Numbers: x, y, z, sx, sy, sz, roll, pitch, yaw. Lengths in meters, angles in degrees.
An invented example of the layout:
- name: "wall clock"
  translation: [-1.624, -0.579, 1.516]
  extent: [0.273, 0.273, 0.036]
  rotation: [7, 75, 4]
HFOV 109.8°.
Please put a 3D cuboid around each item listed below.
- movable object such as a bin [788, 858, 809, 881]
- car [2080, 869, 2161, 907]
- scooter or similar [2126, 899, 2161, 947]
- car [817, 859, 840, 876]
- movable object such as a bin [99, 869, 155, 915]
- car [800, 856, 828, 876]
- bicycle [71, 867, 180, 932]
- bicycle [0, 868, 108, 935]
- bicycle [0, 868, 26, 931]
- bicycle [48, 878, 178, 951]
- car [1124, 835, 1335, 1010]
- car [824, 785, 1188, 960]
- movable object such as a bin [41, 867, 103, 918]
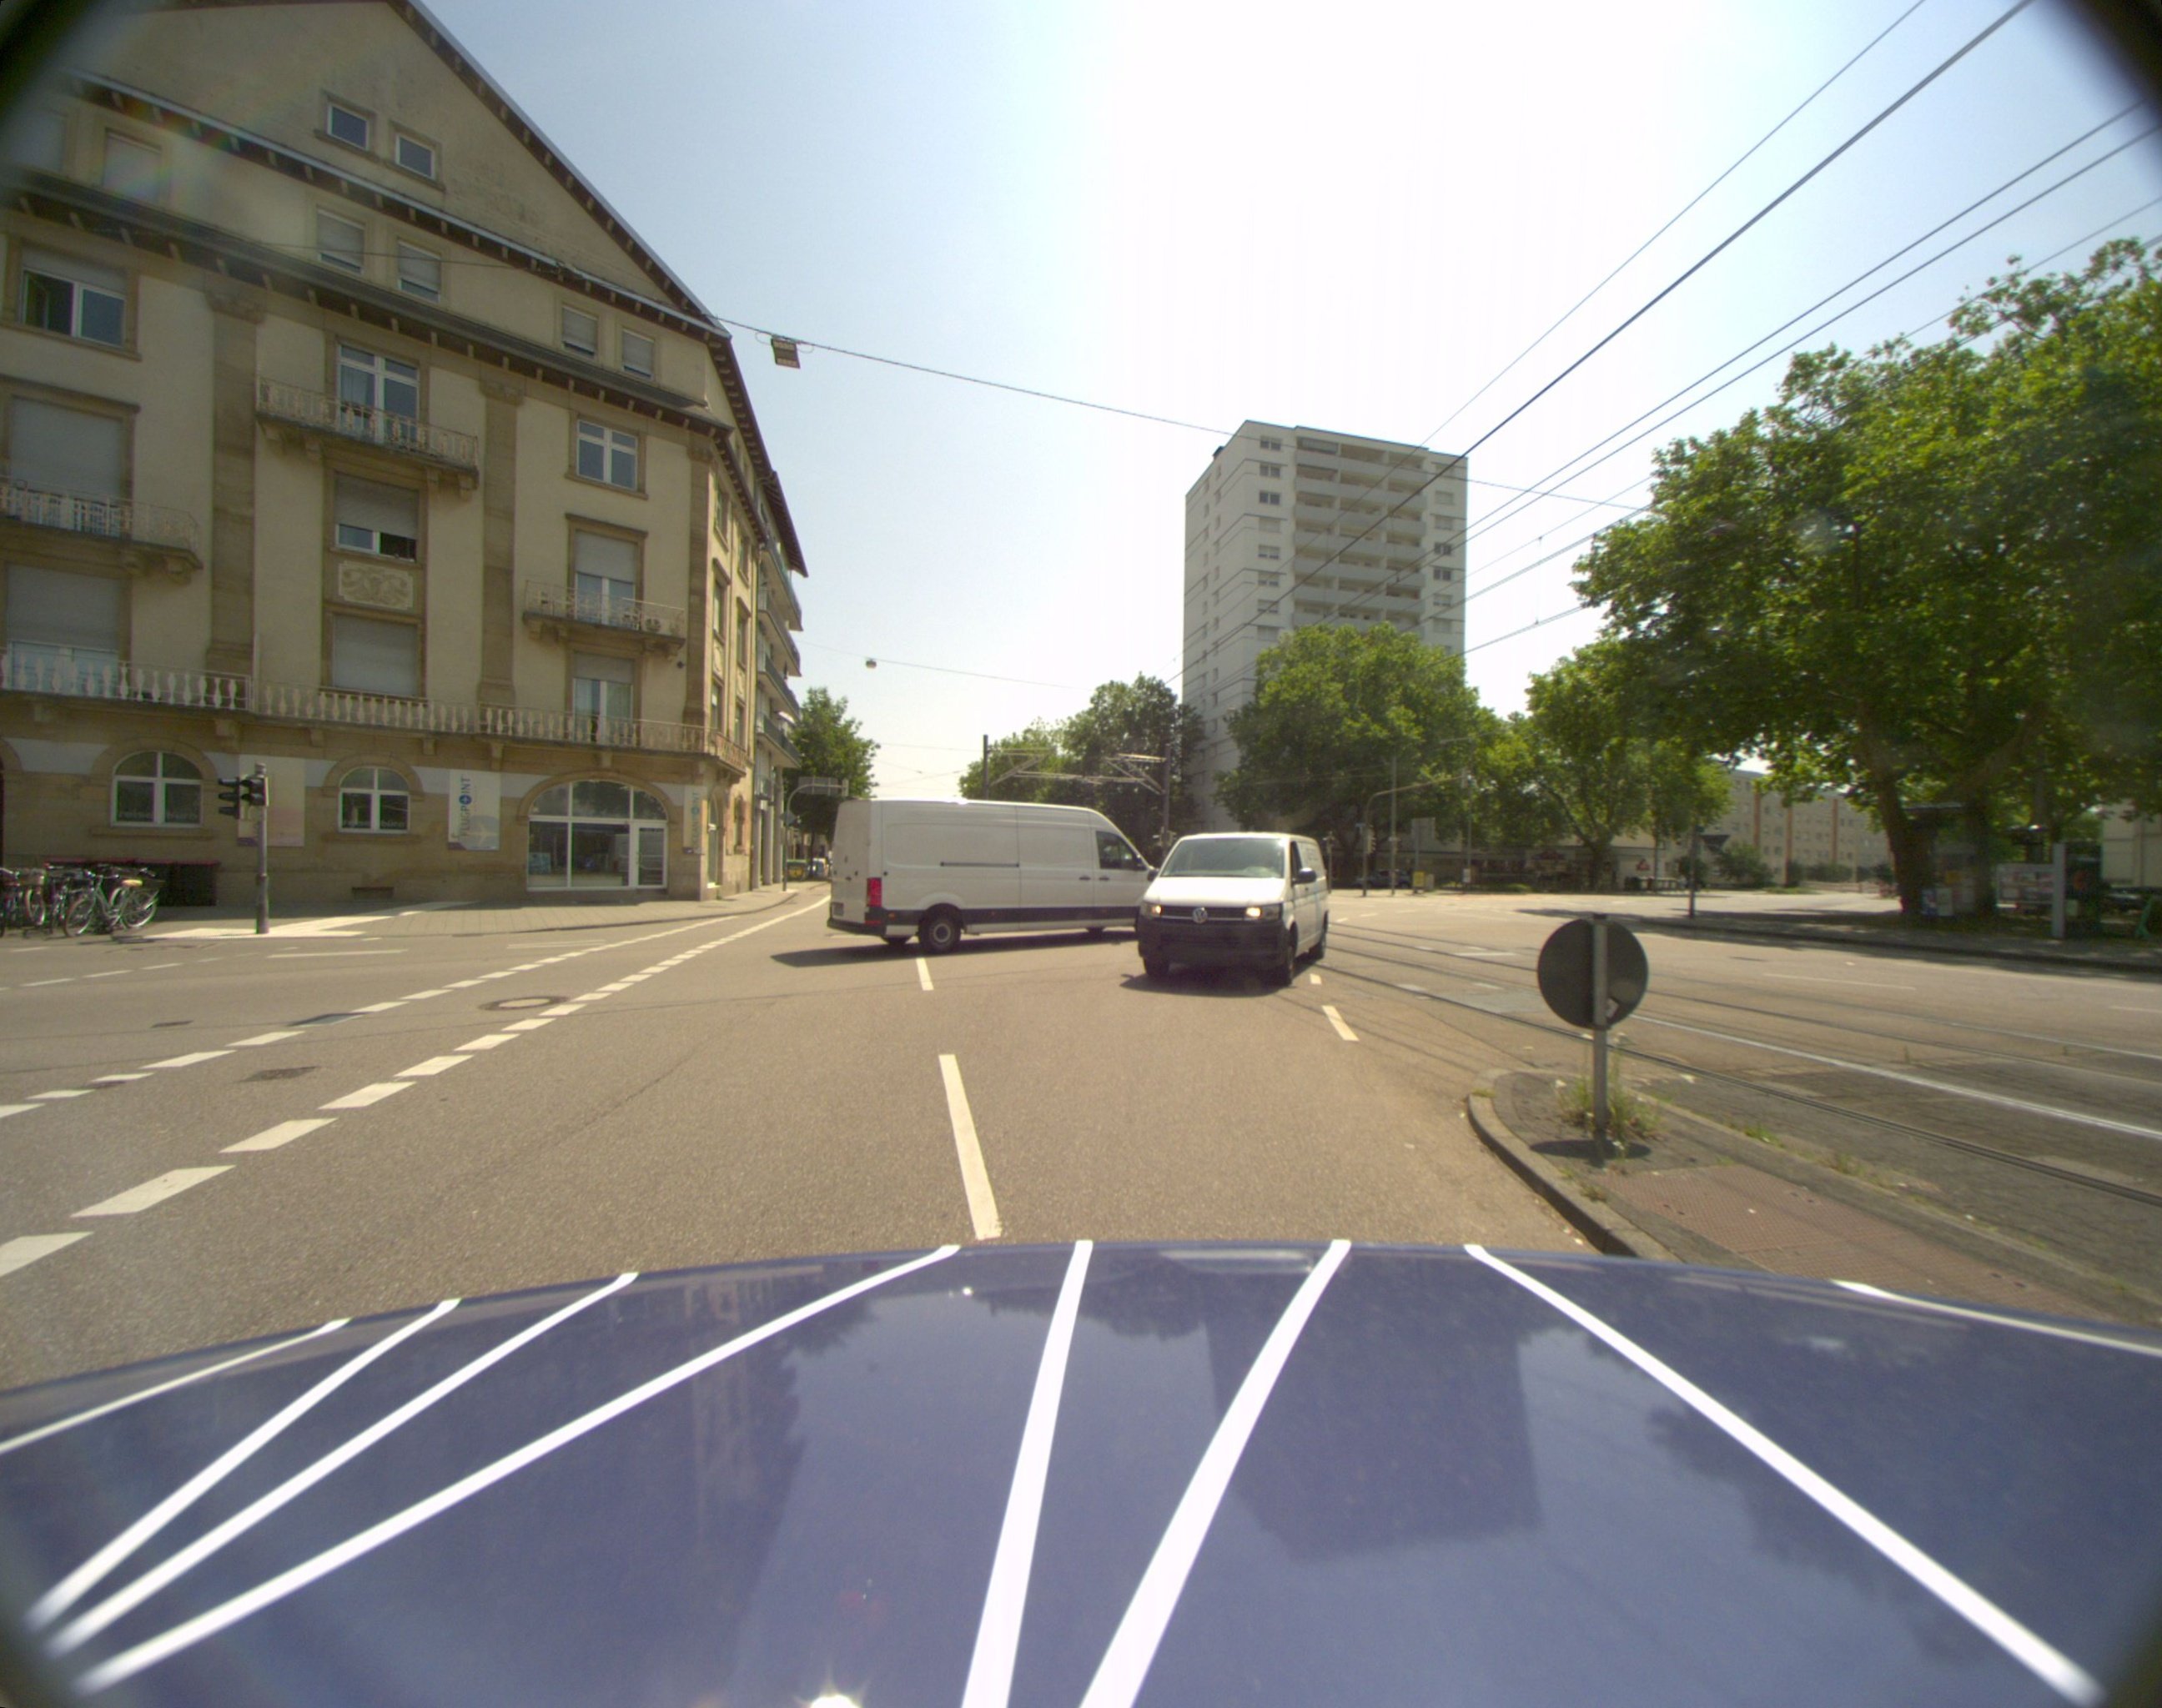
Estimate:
- name: "movable object such as a bin"
  translation: [-18.006, 0.965, 48.378]
  extent: [1.216, 1.427, 1.006]
  rotation: [0, 0, -23]
- name: "car"
  translation: [57.625, 1.818, 41.539]
  extent: [4.000, 2.002, 1.998]
  rotation: [0, 0, -9]
- name: "scooter or similar"
  translation: [26.134, 1.674, 18.414]
  extent: [0.257, 1.114, 0.977]
  rotation: [0, 0, -1]
- name: "car"
  translation: [-24.525, 1.292, 73.808]
  extent: [2.001, 1.522, 3.994]
  rotation: [0, 0, -17]
- name: "movable object such as a bin"
  translation: [-21.243, 0.842, 16.932]
  extent: [0.591, 0.989, 0.581]
  rotation: [0, 0, -30]
- name: "car"
  translation: [-21.598, 0.926, 61.571]
  extent: [2.001, 1.522, 3.994]
  rotation: [0, 0, -17]
- name: "bicycle"
  translation: [-18.958, 0.869, 15.129]
  extent: [0.566, 1.145, 1.801]
  rotation: [0, 1, -24]
- name: "bicycle"
  translation: [-19.659, 0.869, 14.491]
  extent: [0.566, 1.145, 1.801]
  rotation: [0, 1, -24]
- name: "bicycle"
  translation: [-20.233, 0.865, 13.703]
  extent: [0.566, 1.145, 1.801]
  rotation: [0, 1, -24]
- name: "bicycle"
  translation: [-17.823, 1.076, 14.060]
  extent: [0.566, 1.145, 2.055]
  rotation: [0, 1, -24]
- name: "car"
  translation: [2.424, 0.780, 11.081]
  extent: [1.849, 1.942, 4.952]
  rotation: [1, 0, 25]
- name: "car"
  translation: [-1.120, 0.325, 14.221]
  extent: [6.647, 2.621, 2.071]
  rotation: [1, 0, -37]
- name: "movable object such as a bin"
  translation: [-21.883, 0.820, 16.495]
  extent: [0.591, 1.058, 0.669]
  rotation: [0, 0, -30]
